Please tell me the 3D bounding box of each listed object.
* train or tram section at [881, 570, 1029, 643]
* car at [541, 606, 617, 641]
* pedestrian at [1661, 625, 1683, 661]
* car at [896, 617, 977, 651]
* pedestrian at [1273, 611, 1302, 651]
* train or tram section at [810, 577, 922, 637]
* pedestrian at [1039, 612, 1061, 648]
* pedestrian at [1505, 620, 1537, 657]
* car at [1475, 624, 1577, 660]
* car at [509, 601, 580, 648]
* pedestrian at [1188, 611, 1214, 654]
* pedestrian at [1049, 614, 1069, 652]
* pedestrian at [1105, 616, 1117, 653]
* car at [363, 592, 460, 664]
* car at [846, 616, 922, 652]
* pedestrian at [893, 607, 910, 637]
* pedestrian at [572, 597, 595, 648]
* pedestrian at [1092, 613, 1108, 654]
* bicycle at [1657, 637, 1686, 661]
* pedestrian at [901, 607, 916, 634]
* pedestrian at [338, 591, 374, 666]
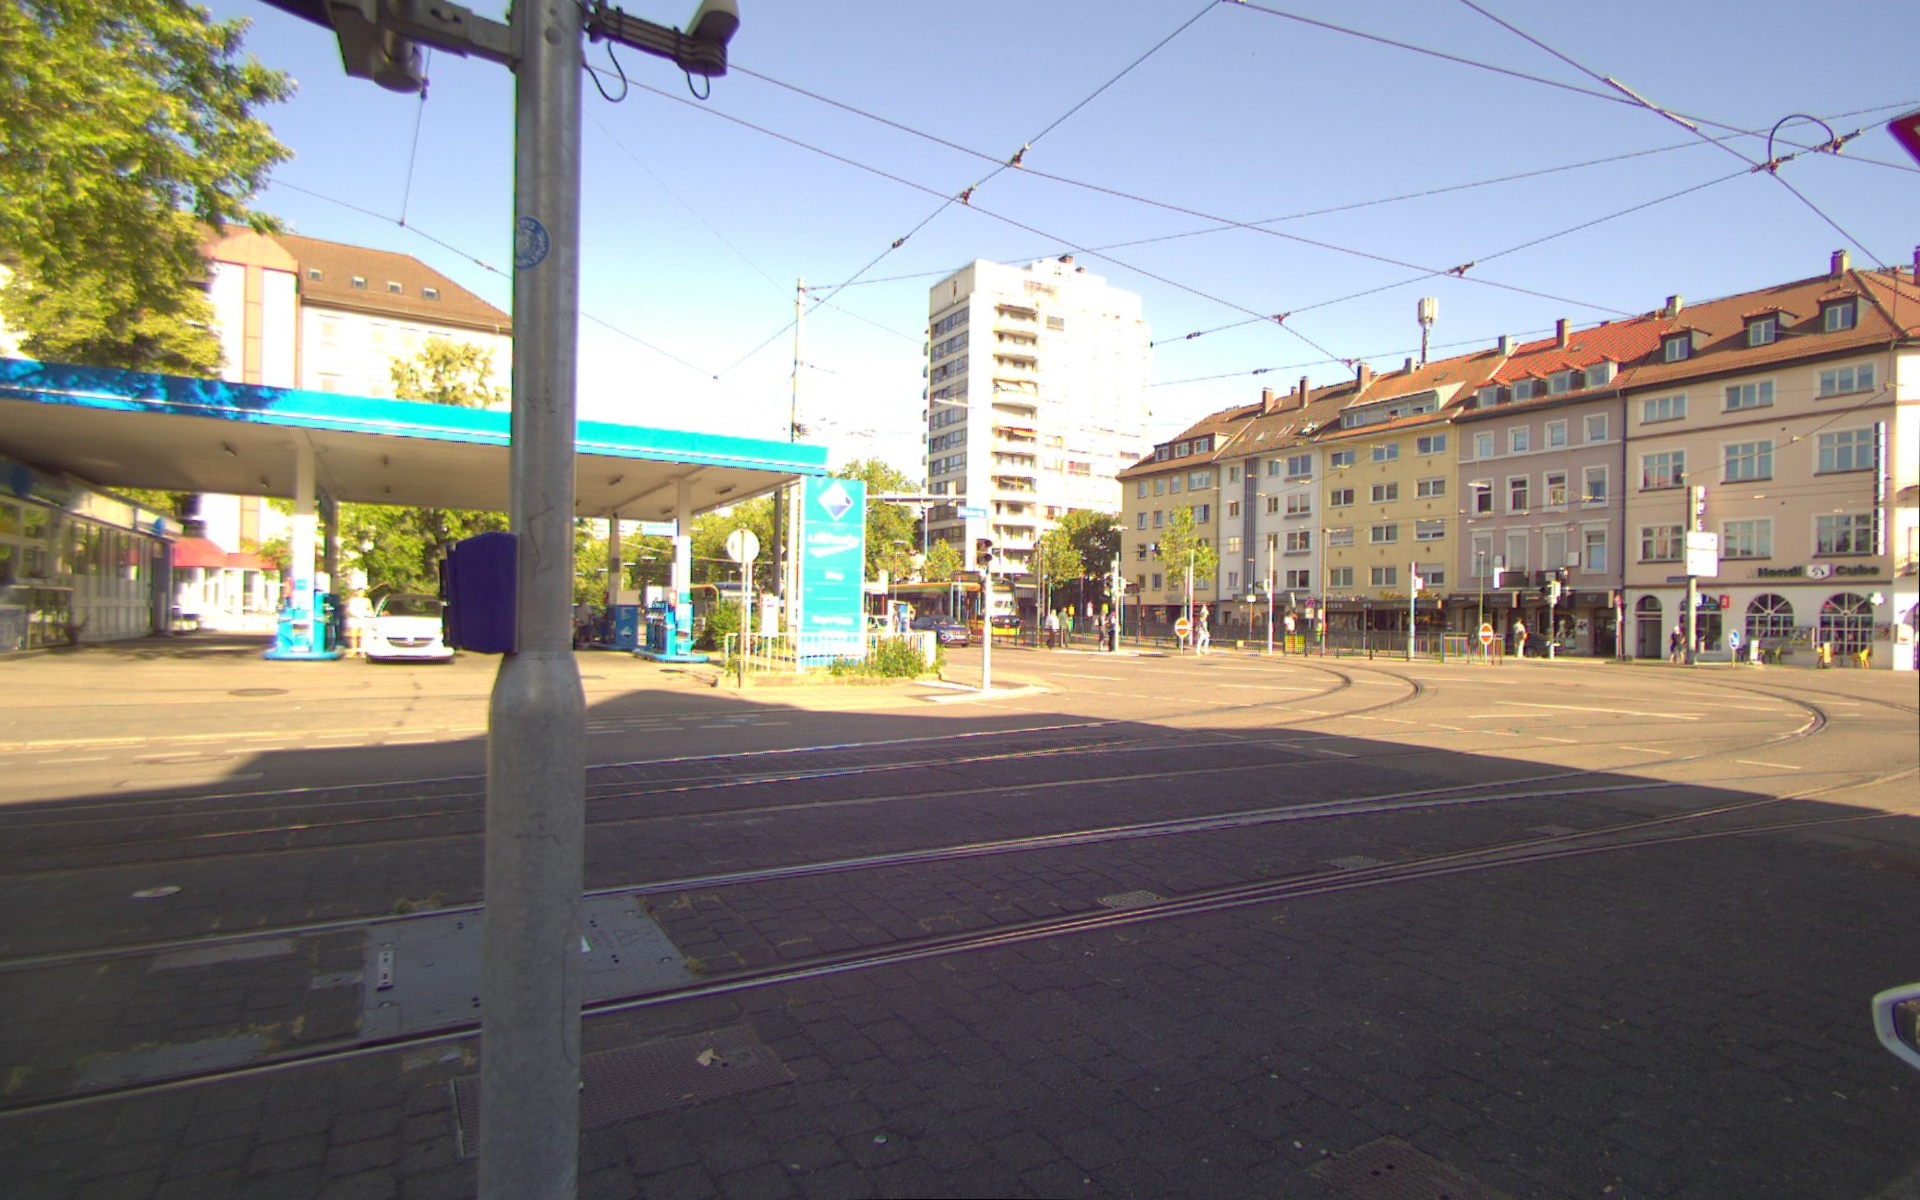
[{"bbox_3d":[-0.665,0.419,60.129,2.906,3.864,12.952,1,-1,-29],"label":"train or tram section"},{"bbox_3d":[-16.856,1.039,44.604,1.722,1.461,3.572,1,-1,5],"label":"car"},{"bbox_3d":[34.087,2.061,48.081,0.743,1.692,0.579,2,0,-30],"label":"pedestrian"},{"bbox_3d":[-1.156,1.615,48.371,1.875,1.550,3.955,1,-2,-39],"label":"car"},{"bbox_3d":[13.330,1.266,40.857,0.821,1.598,0.724,2,0,-20],"label":"pedestrian"},{"bbox_3d":[-6.943,0.512,71.271,2.907,3.864,12.719,1,-1,-30],"label":"train or tram section"},{"bbox_3d":[4.043,1.347,45.114,0.867,1.598,0.665,2,0,-2],"label":"pedestrian"},{"bbox_3d":[24.517,1.672,43.923,0.821,1.598,0.847,2,0,-20],"label":"pedestrian"},{"bbox_3d":[30.829,2.291,54.850,2.277,1.734,4.350,2,0,-27],"label":"car"},{"bbox_3d":[-13.543,0.783,32.680,1.737,1.461,3.543,1,-1,-29],"label":"car"},{"bbox_3d":[9.244,1.252,38.536,0.817,1.598,0.552,2,0,-2],"label":"pedestrian"},{"bbox_3d":[4.515,1.500,45.810,0.553,1.702,0.754,1,-1,-32],"label":"pedestrian"},{"bbox_3d":[6.158,1.405,40.970,0.472,1.525,0.462,0,0,6],"label":"pedestrian"},{"bbox_3d":[-12.191,0.605,22.353,1.737,1.461,3.543,1,-1,-29],"label":"car"},{"bbox_3d":[-3.583,1.551,46.741,1.871,1.550,3.963,1,-1,-33],"label":"car"},{"bbox_3d":[-3.415,1.269,58.852,0.747,1.756,0.797,0,0,-28],"label":"pedestrian"},{"bbox_3d":[-12.863,0.772,34.316,0.491,1.724,0.499,0,-1,33],"label":"pedestrian"},{"bbox_3d":[5.861,1.392,41.970,0.626,1.666,0.462,0,0,6],"label":"pedestrian"},{"bbox_3d":[34.054,2.359,48.069,1.479,1.091,0.570,2,0,-30],"label":"bicycle"},{"bbox_3d":[-3.099,1.245,60.255,0.607,1.598,0.827,0,0,-27],"label":"pedestrian"},{"bbox_3d":[-13.985,0.660,23.276,0.640,1.724,0.497,1,-1,-26],"label":"pedestrian"}]
